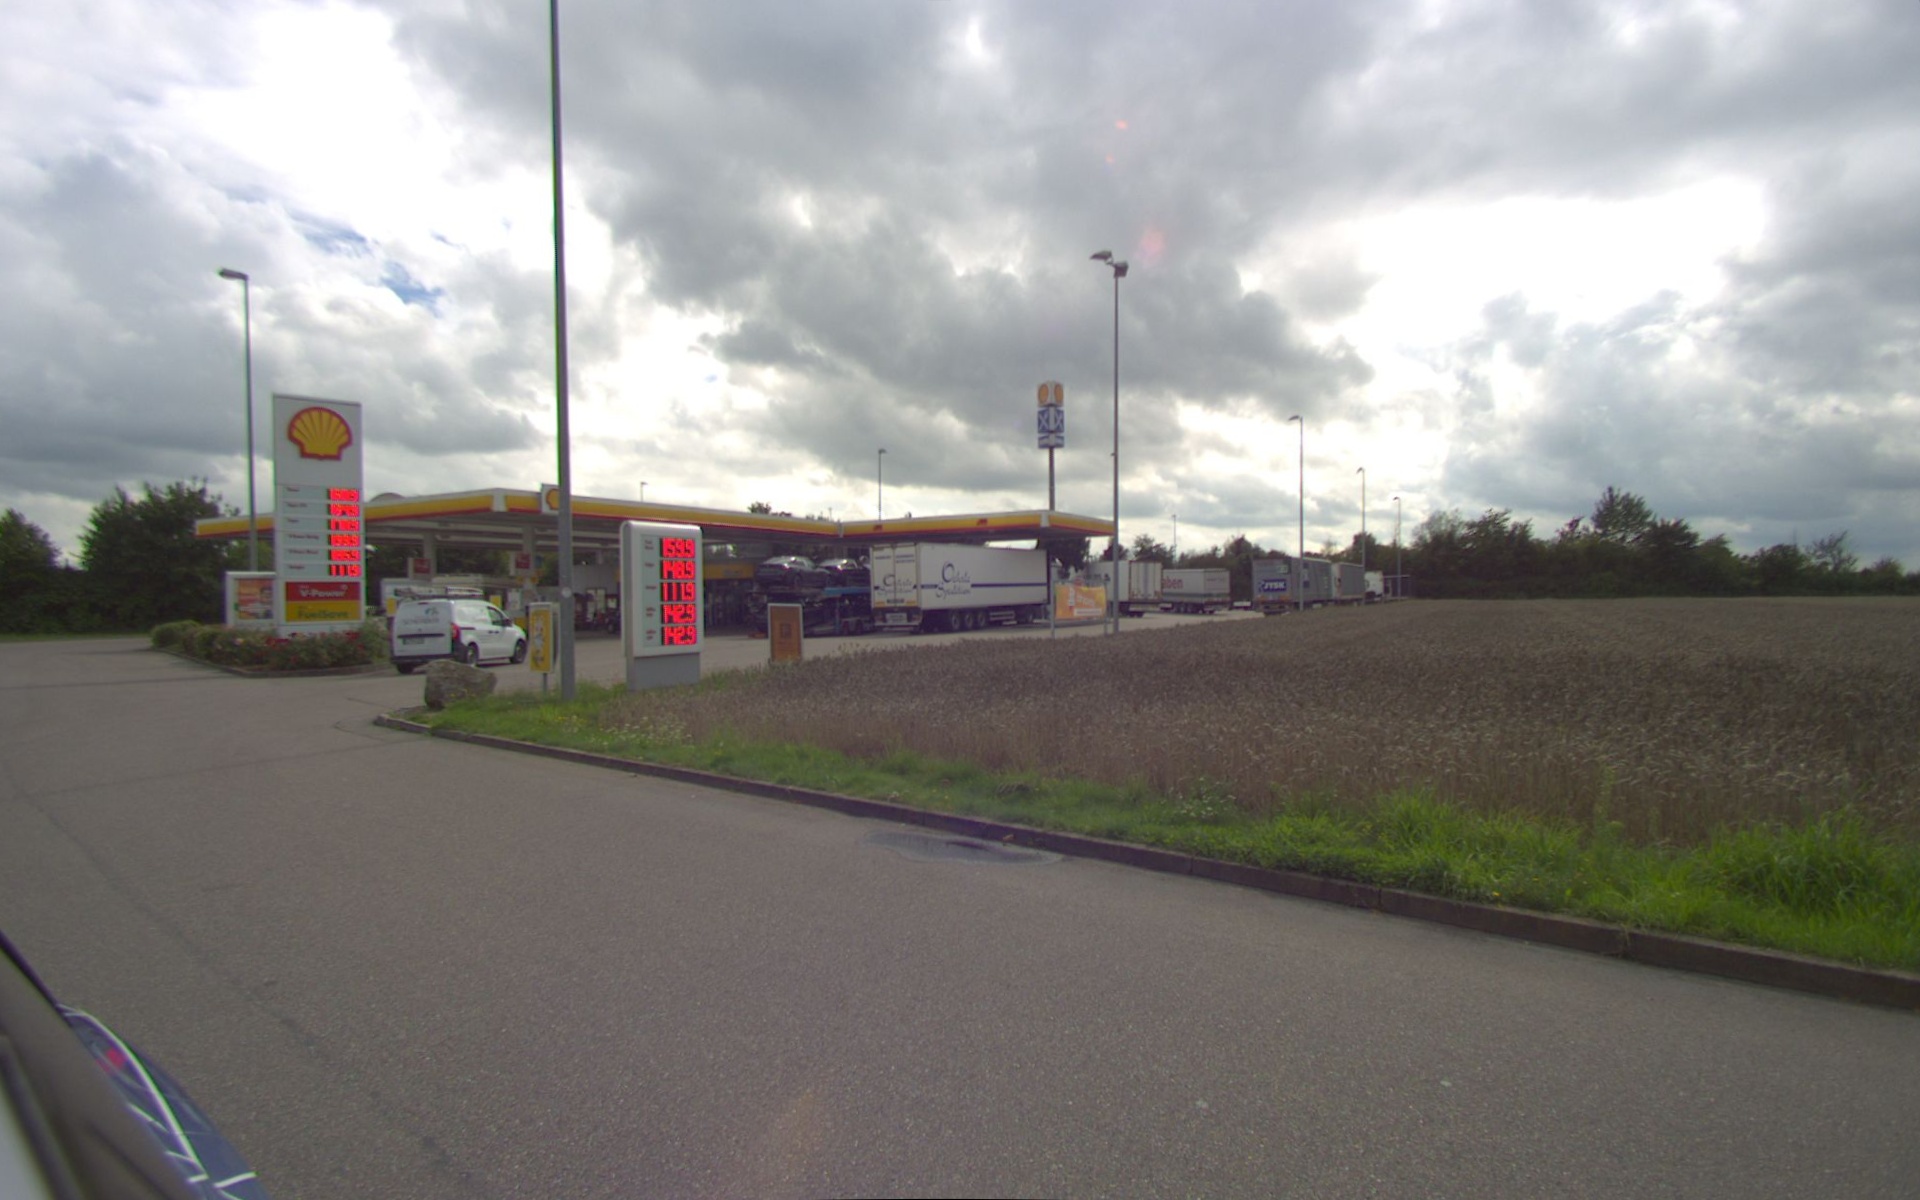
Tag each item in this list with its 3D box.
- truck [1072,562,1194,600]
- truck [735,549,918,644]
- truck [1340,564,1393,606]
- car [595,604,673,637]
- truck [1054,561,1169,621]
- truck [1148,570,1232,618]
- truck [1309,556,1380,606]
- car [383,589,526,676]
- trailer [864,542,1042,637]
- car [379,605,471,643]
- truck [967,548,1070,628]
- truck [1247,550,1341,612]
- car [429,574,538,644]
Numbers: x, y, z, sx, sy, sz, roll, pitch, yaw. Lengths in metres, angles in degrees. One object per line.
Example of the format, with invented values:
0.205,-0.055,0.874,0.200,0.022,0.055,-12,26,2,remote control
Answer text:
18.524,-2.055,108.546,12.794,3.923,2.832,-1,0,-14,truck
-5.961,-0.194,48.883,2.733,3.953,13.163,0,0,21,truck
41.399,-1.484,102.738,2.815,3.923,12.671,0,0,32,truck
-16.873,1.055,52.348,3.742,1.613,1.701,-2,0,27,car
11.289,-0.646,78.008,2.913,4.143,14.792,0,0,-16,truck
21.174,-0.451,94.121,2.945,4.142,11.602,-1,0,-11,truck
33.230,-1.583,86.894,2.815,3.923,15.294,0,0,32,truck
-12.963,0.808,26.227,1.771,2.027,3.881,-2,-1,0,car
0.086,-0.478,49.531,2.701,4.055,12.720,-2,0,29,trailer
-24.196,1.056,45.961,1.973,1.571,3.958,-2,0,2,car
3.301,-0.605,55.274,2.701,4.055,7.097,-2,0,29,truck
23.684,-1.253,70.904,2.815,3.923,15.294,0,0,32,truck
-20.666,0.402,44.242,2.192,2.808,5.811,-1,0,-2,car
